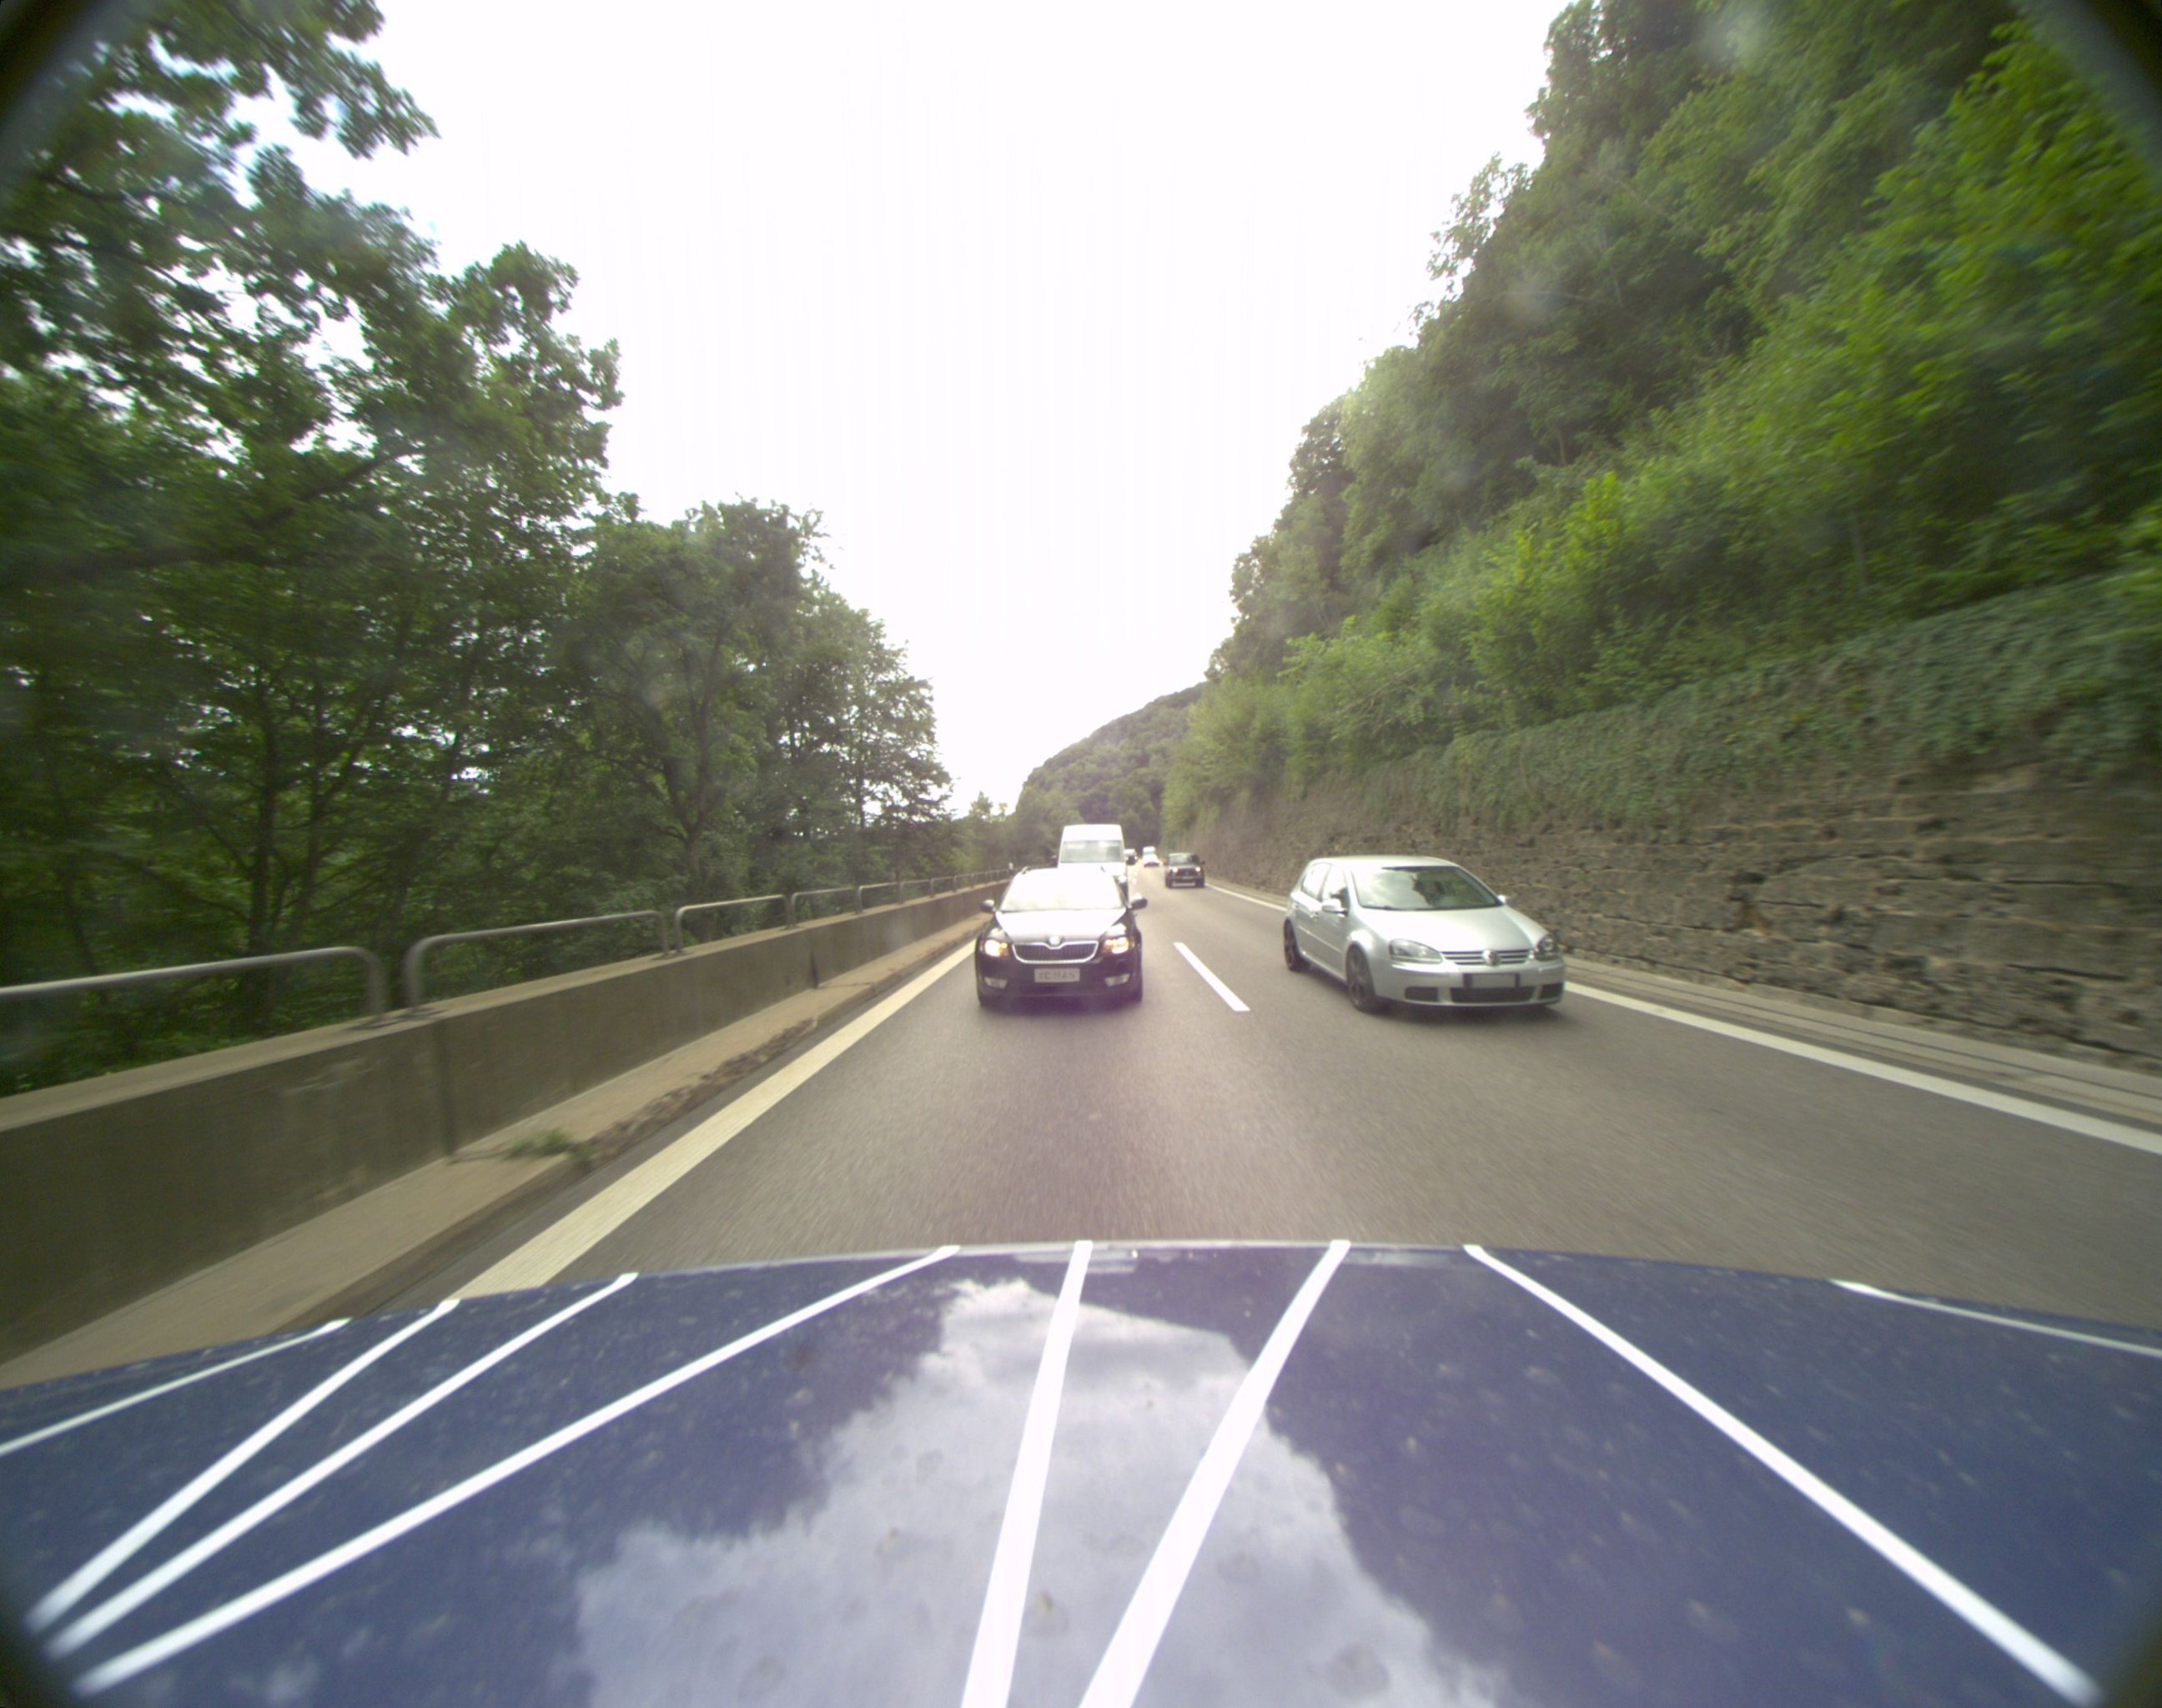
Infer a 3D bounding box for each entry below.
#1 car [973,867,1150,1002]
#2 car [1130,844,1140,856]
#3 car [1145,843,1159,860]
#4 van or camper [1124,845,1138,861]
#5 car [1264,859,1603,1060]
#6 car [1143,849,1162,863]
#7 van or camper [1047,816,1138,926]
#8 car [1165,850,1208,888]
[{"bbox_3d":[-0.117,0.959,11.163,1.998,1.389,5.009,-1,0,2],"label":"car"},{"bbox_3d":[12.049,-0.958,168.773,1.976,2.545,4.584,-1,0,3],"label":"car"},{"bbox_3d":[11.187,-0.414,119.477,1.975,2.628,4.584,-1,0,3],"label":"car"},{"bbox_3d":[8.729,-0.157,133.198,2.269,2.526,5.913,-3,0,4],"label":"van or camper"},{"bbox_3d":[3.385,0.868,8.402,1.685,1.506,4.583,-2,0,2],"label":"car"},{"bbox_3d":[8.575,0.250,91.601,1.813,1.646,4.583,-2,0,0],"label":"car"},{"bbox_3d":[0.390,0.428,21.813,2.081,2.575,5.913,-4,0,2],"label":"van or camper"},{"bbox_3d":[5.029,0.670,36.617,1.812,1.646,4.585,-2,0,6],"label":"car"}]
